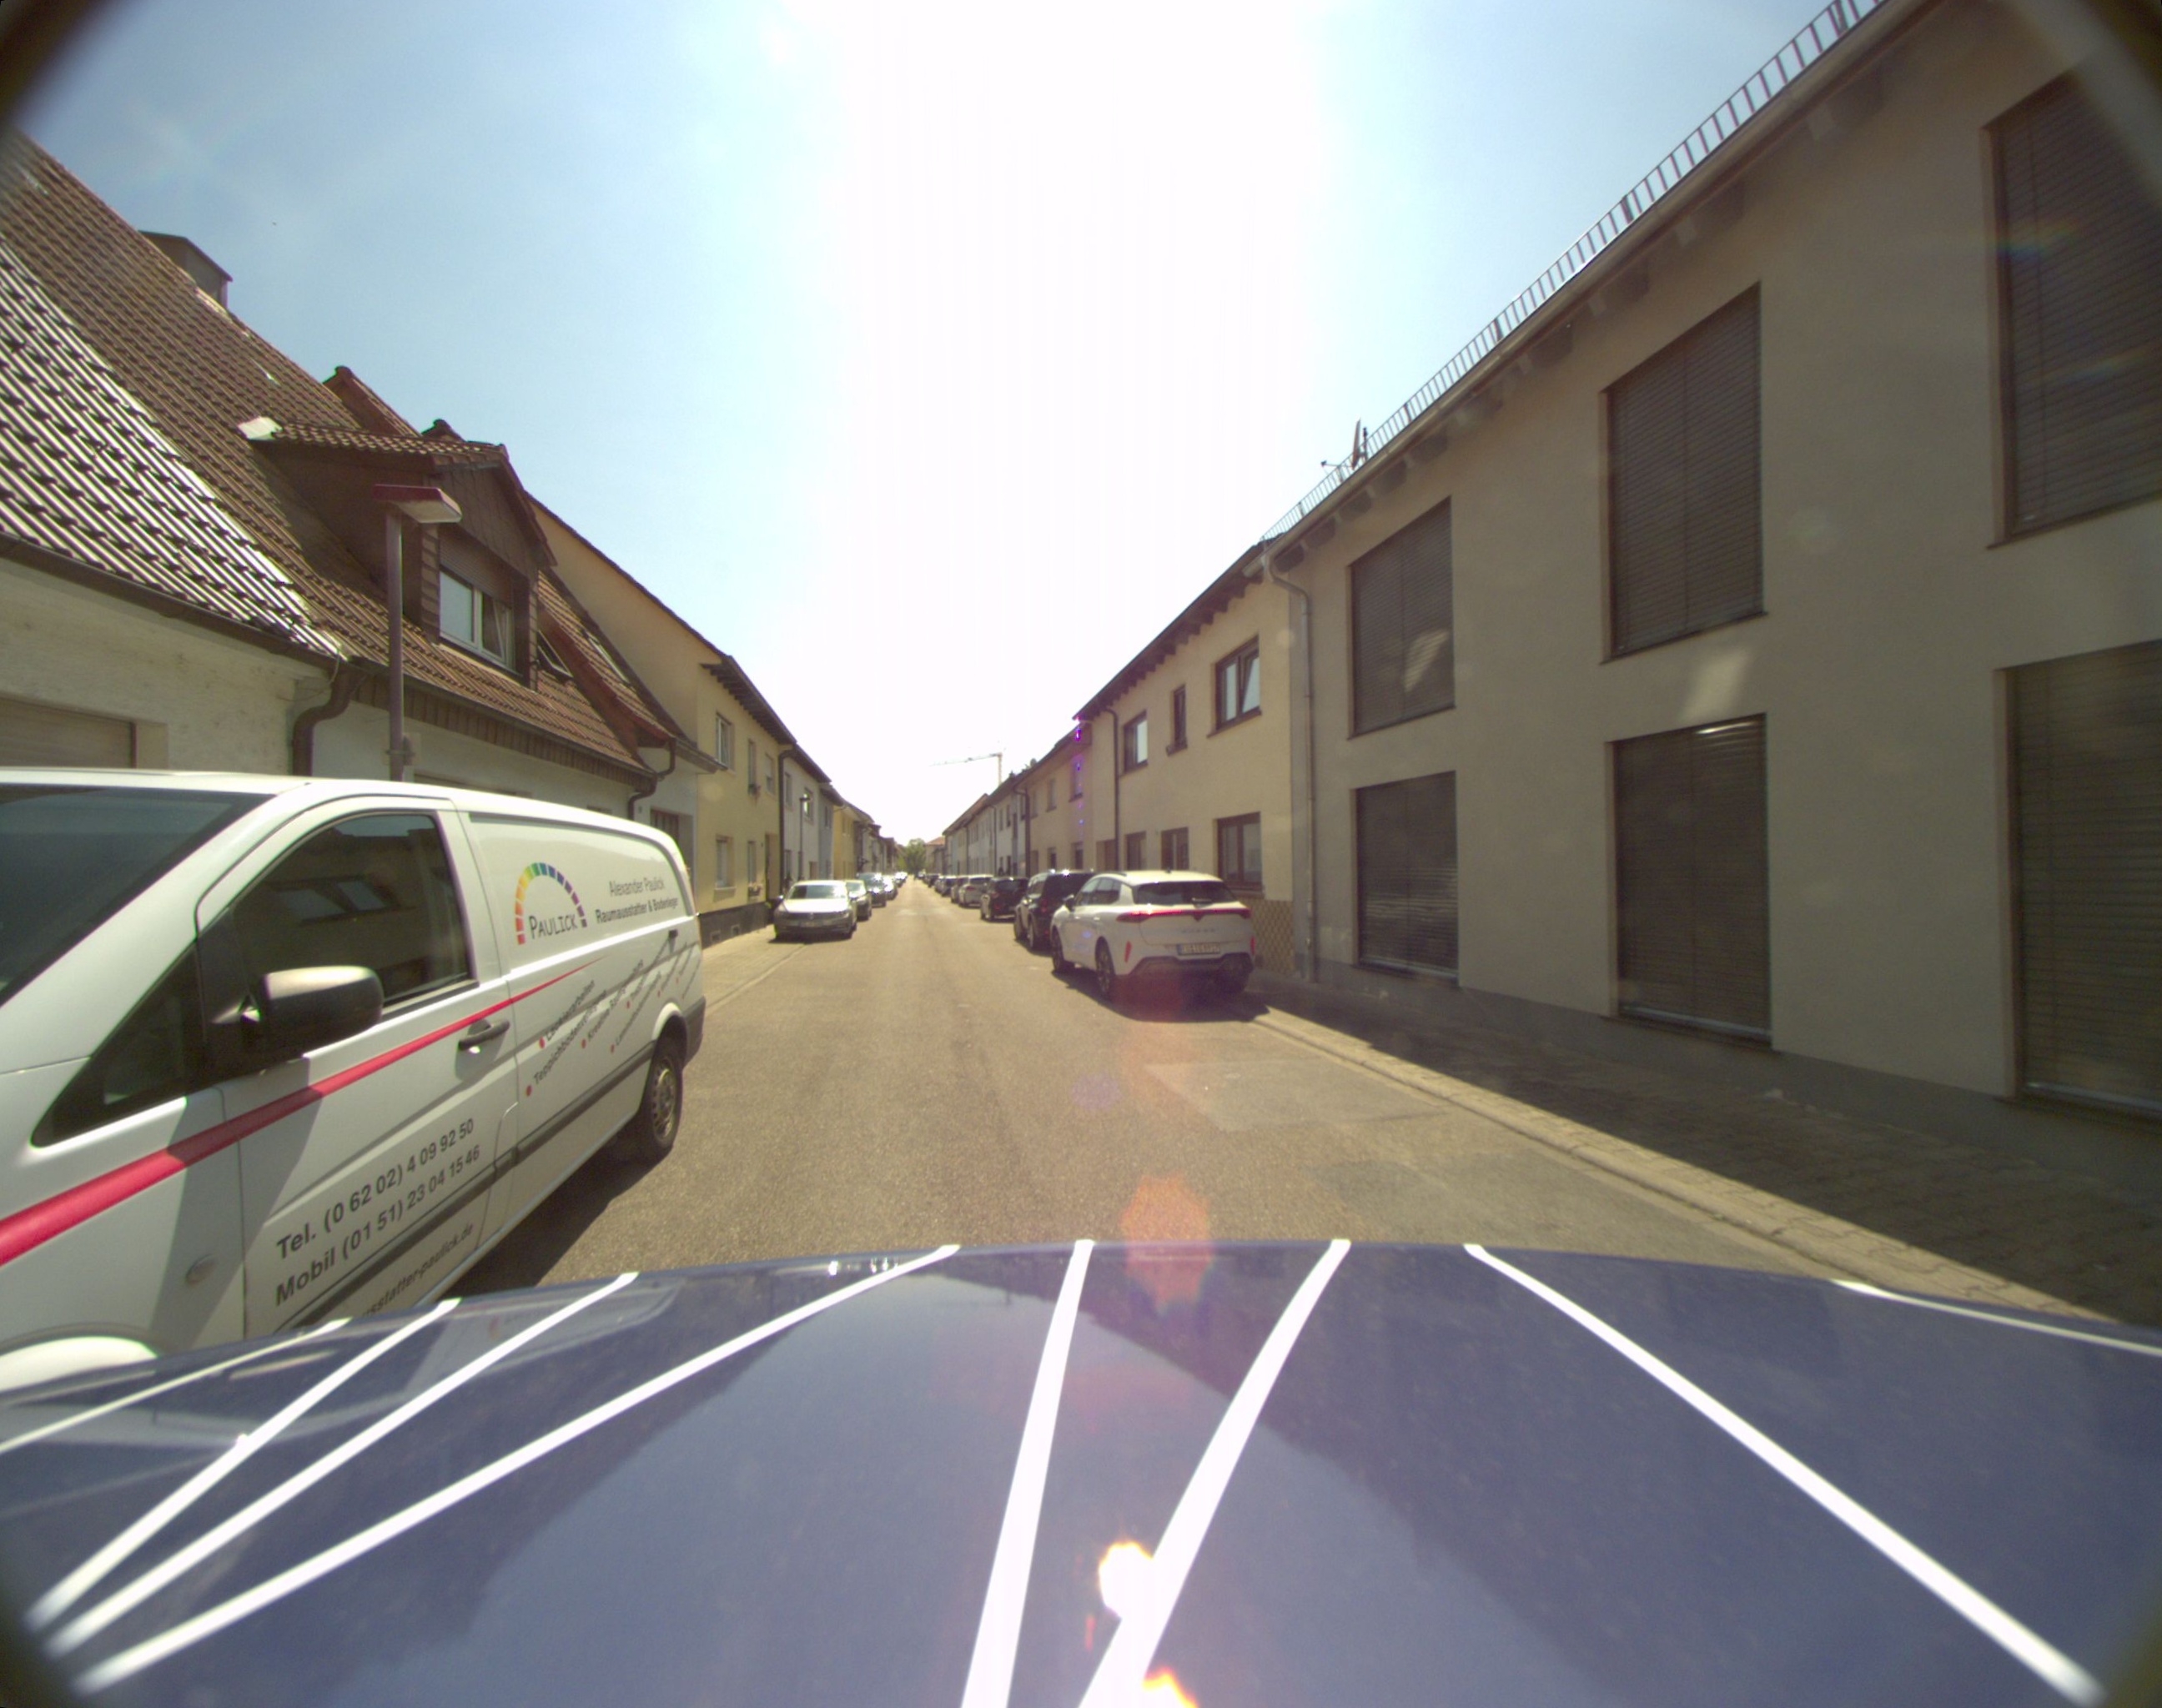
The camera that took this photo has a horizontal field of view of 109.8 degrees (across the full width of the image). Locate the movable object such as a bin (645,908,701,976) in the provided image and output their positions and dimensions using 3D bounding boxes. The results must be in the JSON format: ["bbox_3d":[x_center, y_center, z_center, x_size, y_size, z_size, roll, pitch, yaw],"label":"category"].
[{"bbox_3d":[-6.946,1.486,12.963,0.661,1.065,0.812,0,-1,-14],"label":"movable object such as a bin"}]

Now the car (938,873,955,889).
[{"bbox_3d":[-12.424,2.454,70.061,1.416,1.446,3.539,1,-1,-11],"label":"car"}]

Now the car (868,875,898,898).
[{"bbox_3d":[-12.710,2.066,48.961,1.668,1.406,4.244,1,-1,-13],"label":"car"}]

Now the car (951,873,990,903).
[{"bbox_3d":[-6.250,1.865,42.620,1.669,1.532,3.684,-1,-1,-16],"label":"car"}]

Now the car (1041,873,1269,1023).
[{"bbox_3d":[0.763,1.096,10.699,1.781,1.605,4.344,1,-1,-15],"label":"car"}]

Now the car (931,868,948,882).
[{"bbox_3d":[-17.022,2.484,91.231,1.821,1.597,3.883,1,-1,-13],"label":"car"}]

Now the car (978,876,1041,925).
[{"bbox_3d":[-2.577,1.551,26.586,1.646,1.528,3.938,1,-1,-14],"label":"car"}]

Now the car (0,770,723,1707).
[{"bbox_3d":[-2.888,0.838,2.401,2.020,1.828,5.260,-1,-1,-13],"label":"car"}]

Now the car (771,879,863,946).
[{"bbox_3d":[-6.922,1.463,20.355,1.845,1.439,4.771,-1,-1,-14],"label":"car"}]

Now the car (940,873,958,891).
[{"bbox_3d":[-11.241,2.399,64.751,1.416,1.446,3.459,1,-1,-11],"label":"car"}]

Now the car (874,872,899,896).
[{"bbox_3d":[-13.852,2.082,54.163,1.686,1.575,3.958,-1,-1,-14],"label":"car"}]

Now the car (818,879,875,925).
[{"bbox_3d":[-8.449,1.663,27.625,1.703,1.426,4.098,-1,-1,-14],"label":"car"}]

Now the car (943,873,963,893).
[{"bbox_3d":[-10.059,2.241,59.694,1.416,1.519,3.022,1,-1,-11],"label":"car"}]

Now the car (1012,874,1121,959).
[{"bbox_3d":[-0.439,1.253,16.663,1.728,1.605,3.986,0,-1,-11],"label":"car"}]

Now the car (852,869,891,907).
[{"bbox_3d":[-10.646,1.677,38.766,1.703,1.767,4.194,-1,0,-13],"label":"car"}]

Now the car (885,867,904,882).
[{"bbox_3d":[-18.507,2.004,75.302,1.745,1.459,4.041,-2,0,-14],"label":"car"}]

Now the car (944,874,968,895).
[{"bbox_3d":[-9.089,2.186,54.956,1.608,1.434,3.211,1,-2,-11],"label":"car"}]

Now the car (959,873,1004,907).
[{"bbox_3d":[-4.943,1.720,37.358,1.669,1.539,3.937,0,0,-15],"label":"car"}]
